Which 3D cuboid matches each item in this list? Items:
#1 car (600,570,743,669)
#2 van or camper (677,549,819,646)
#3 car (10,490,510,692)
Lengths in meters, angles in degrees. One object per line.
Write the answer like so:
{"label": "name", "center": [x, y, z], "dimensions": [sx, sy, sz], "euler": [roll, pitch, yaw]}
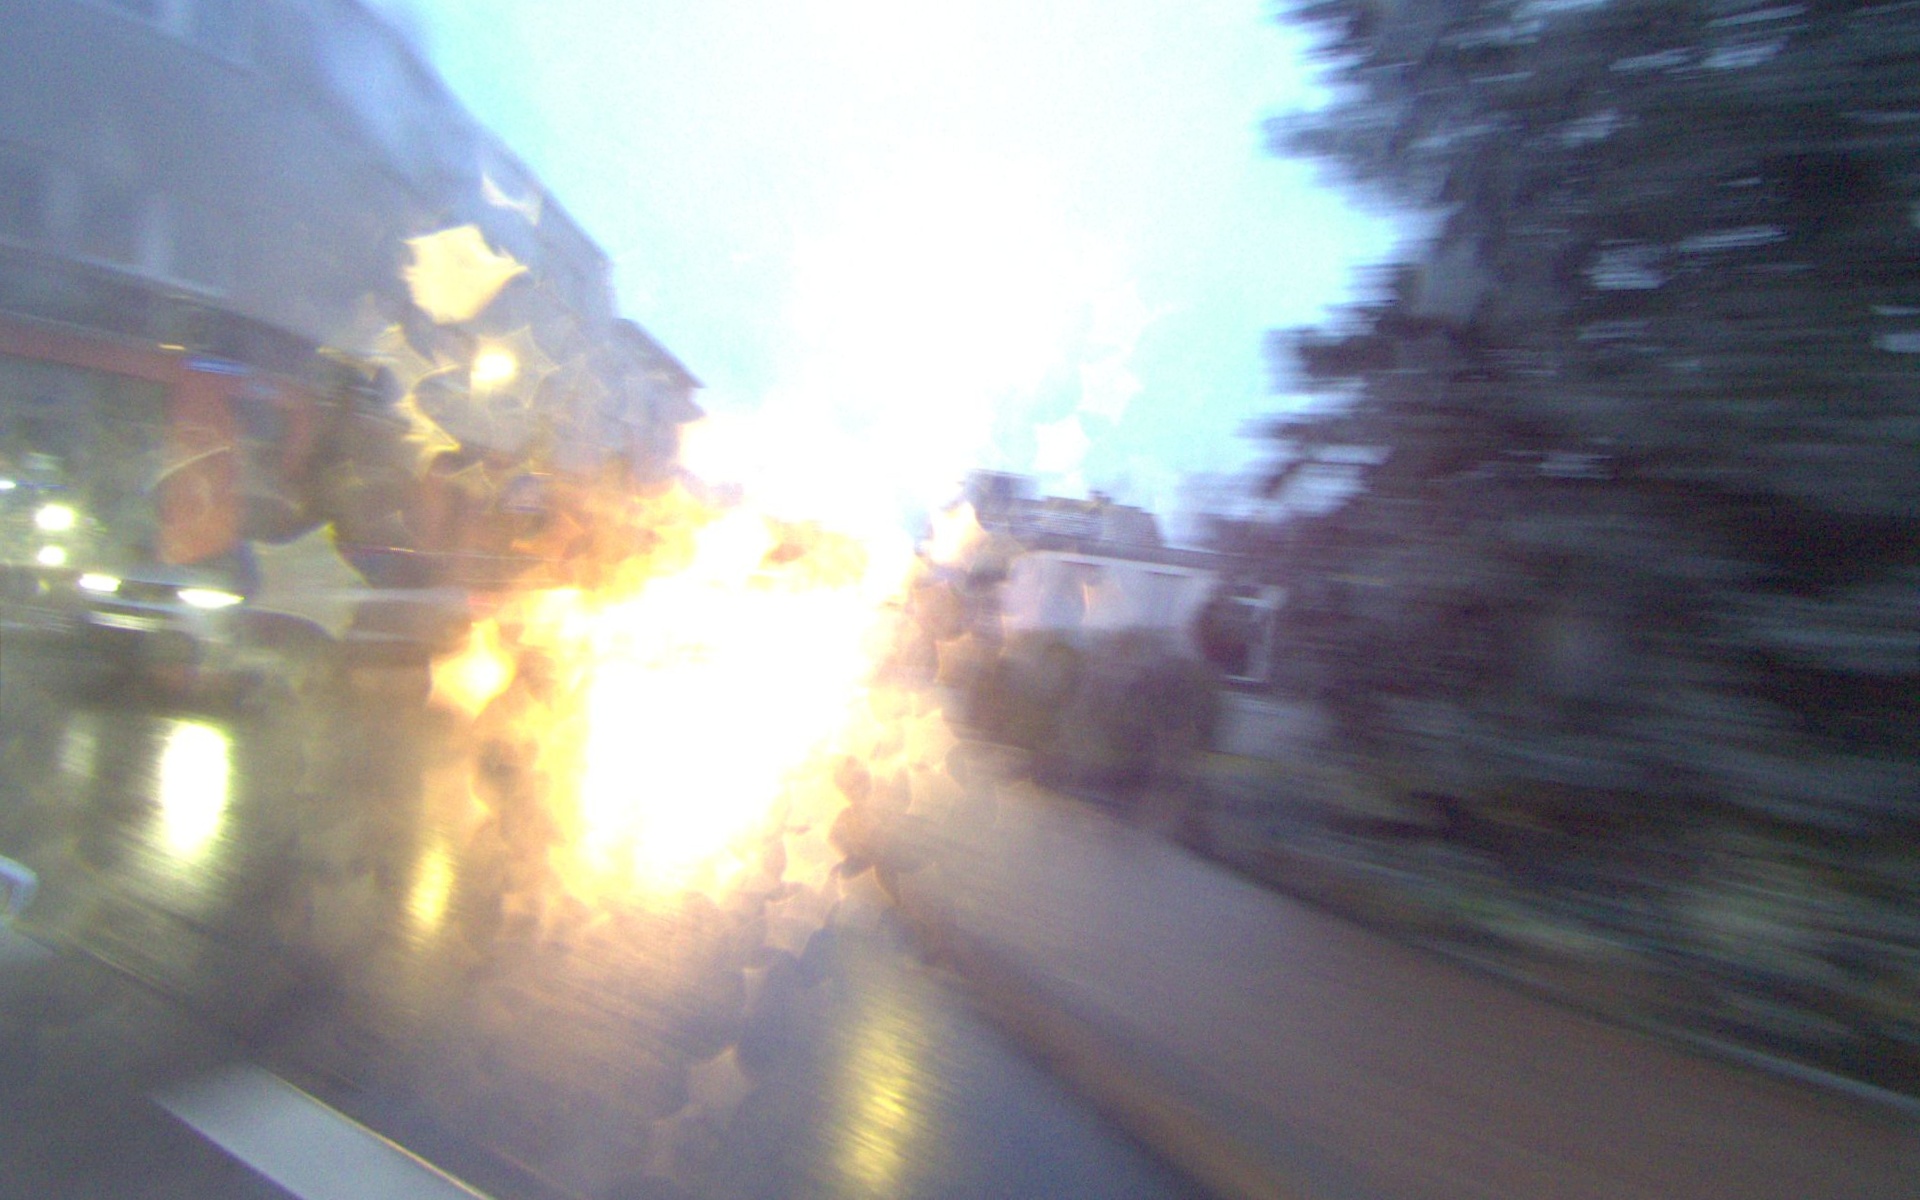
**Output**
{"label": "car", "center": [-6.469, 0.481, 23.065], "dimensions": [2.010, 1.808, 4.132], "euler": [7, -2, -2]}
{"label": "van or camper", "center": [-6.616, 0.043, 32.922], "dimensions": [2.410, 2.358, 9.192], "euler": [9, -1, 0]}
{"label": "car", "center": [-6.844, 0.020, 10.533], "dimensions": [1.763, 1.457, 4.189], "euler": [8, -2, 9]}
